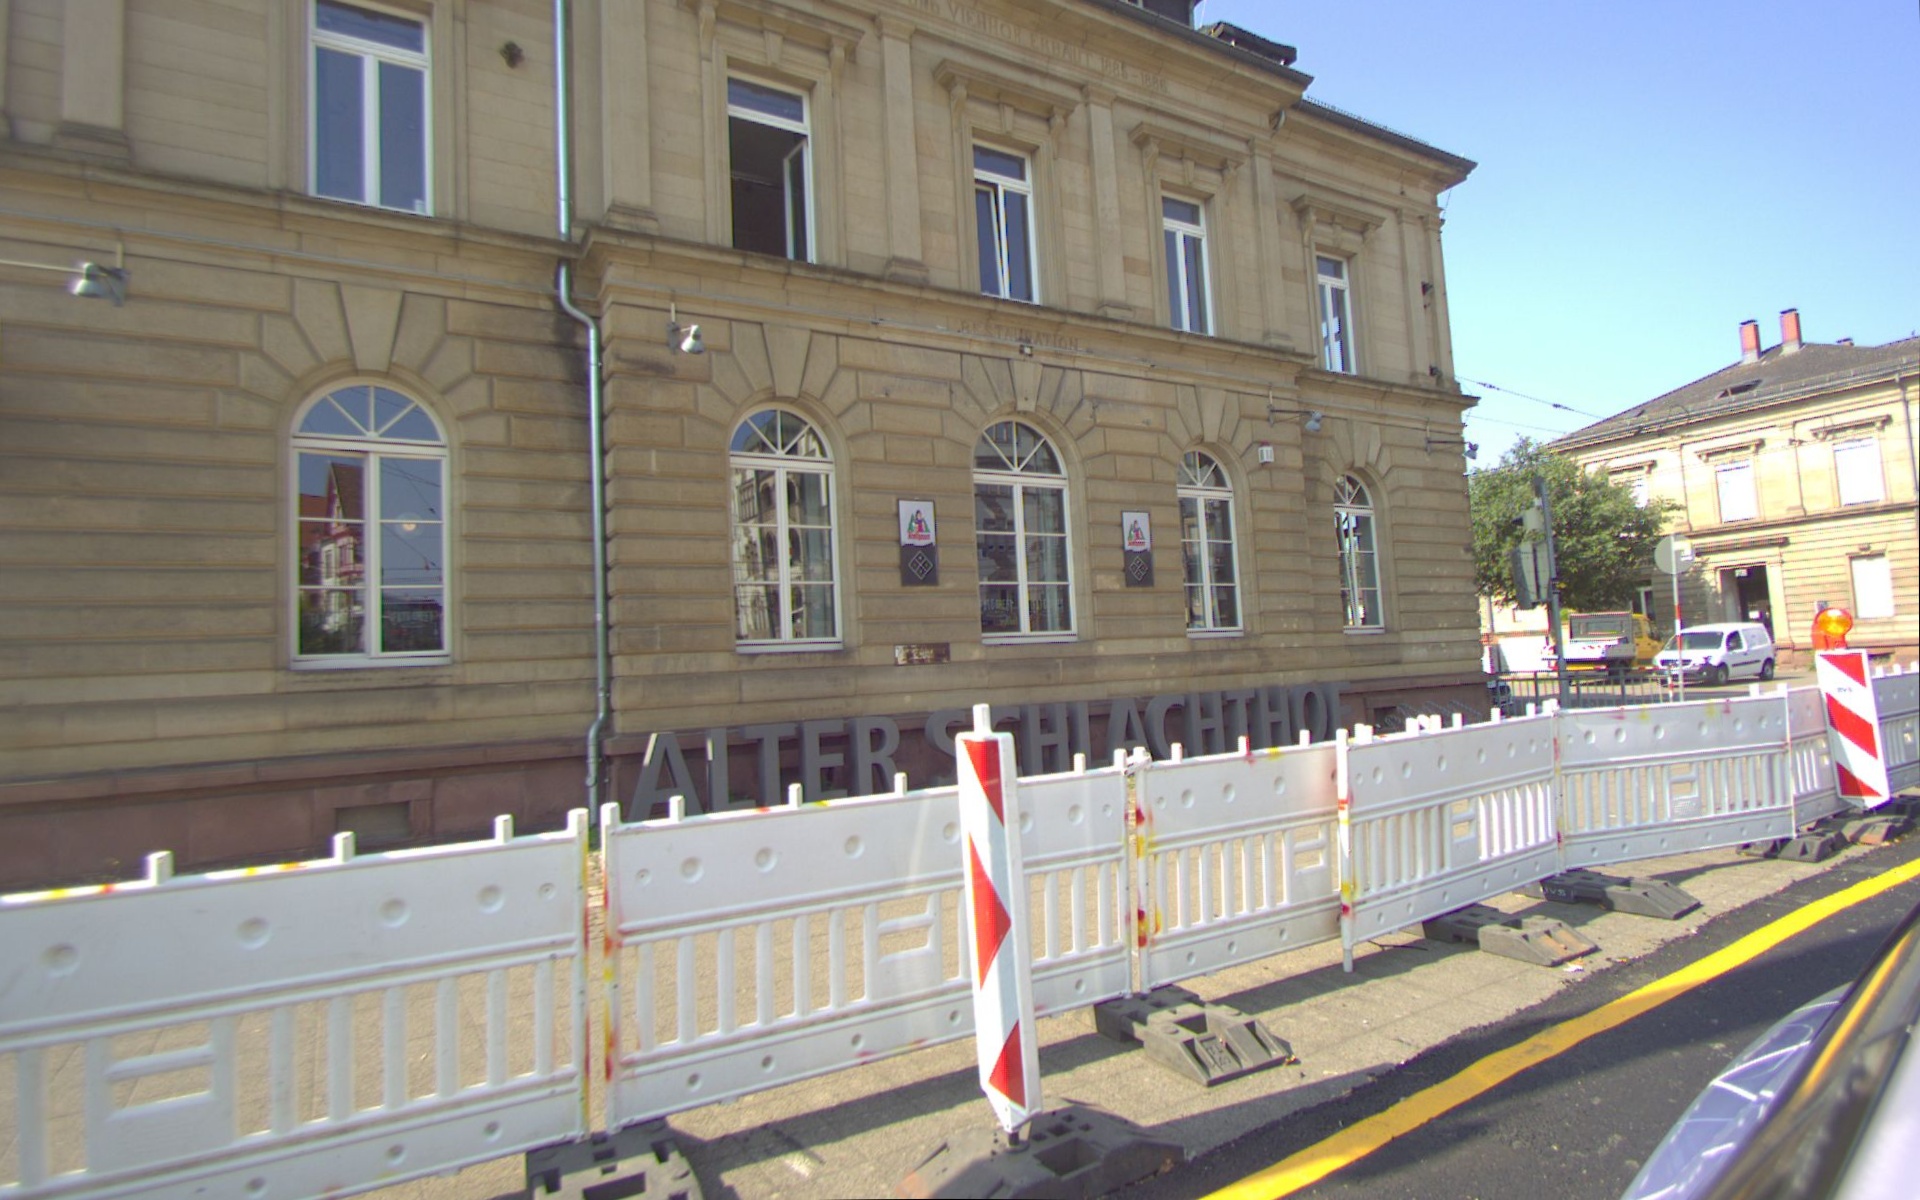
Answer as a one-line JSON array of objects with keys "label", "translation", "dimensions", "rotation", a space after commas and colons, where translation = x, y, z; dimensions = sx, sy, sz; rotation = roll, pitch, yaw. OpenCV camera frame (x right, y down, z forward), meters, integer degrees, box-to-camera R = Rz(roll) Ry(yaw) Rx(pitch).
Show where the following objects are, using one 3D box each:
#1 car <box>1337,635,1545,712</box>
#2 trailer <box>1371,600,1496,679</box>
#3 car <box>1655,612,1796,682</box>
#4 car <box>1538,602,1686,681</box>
[{"label": "car", "translation": [11.066, 1.652, 23.505], "dimensions": [1.636, 1.556, 4.005], "rotation": [-1, -2, -40]}, {"label": "trailer", "translation": [21.146, 1.804, 45.342], "dimensions": [2.468, 3.089, 4.115], "rotation": [-1, -6, -37]}, {"label": "car", "translation": [23.181, 1.396, 30.616], "dimensions": [4.143, 1.806, 1.910], "rotation": [-2, -3, -32]}, {"label": "car", "translation": [22.559, 1.401, 34.964], "dimensions": [5.385, 2.455, 2.263], "rotation": [0, -5, -35]}]
